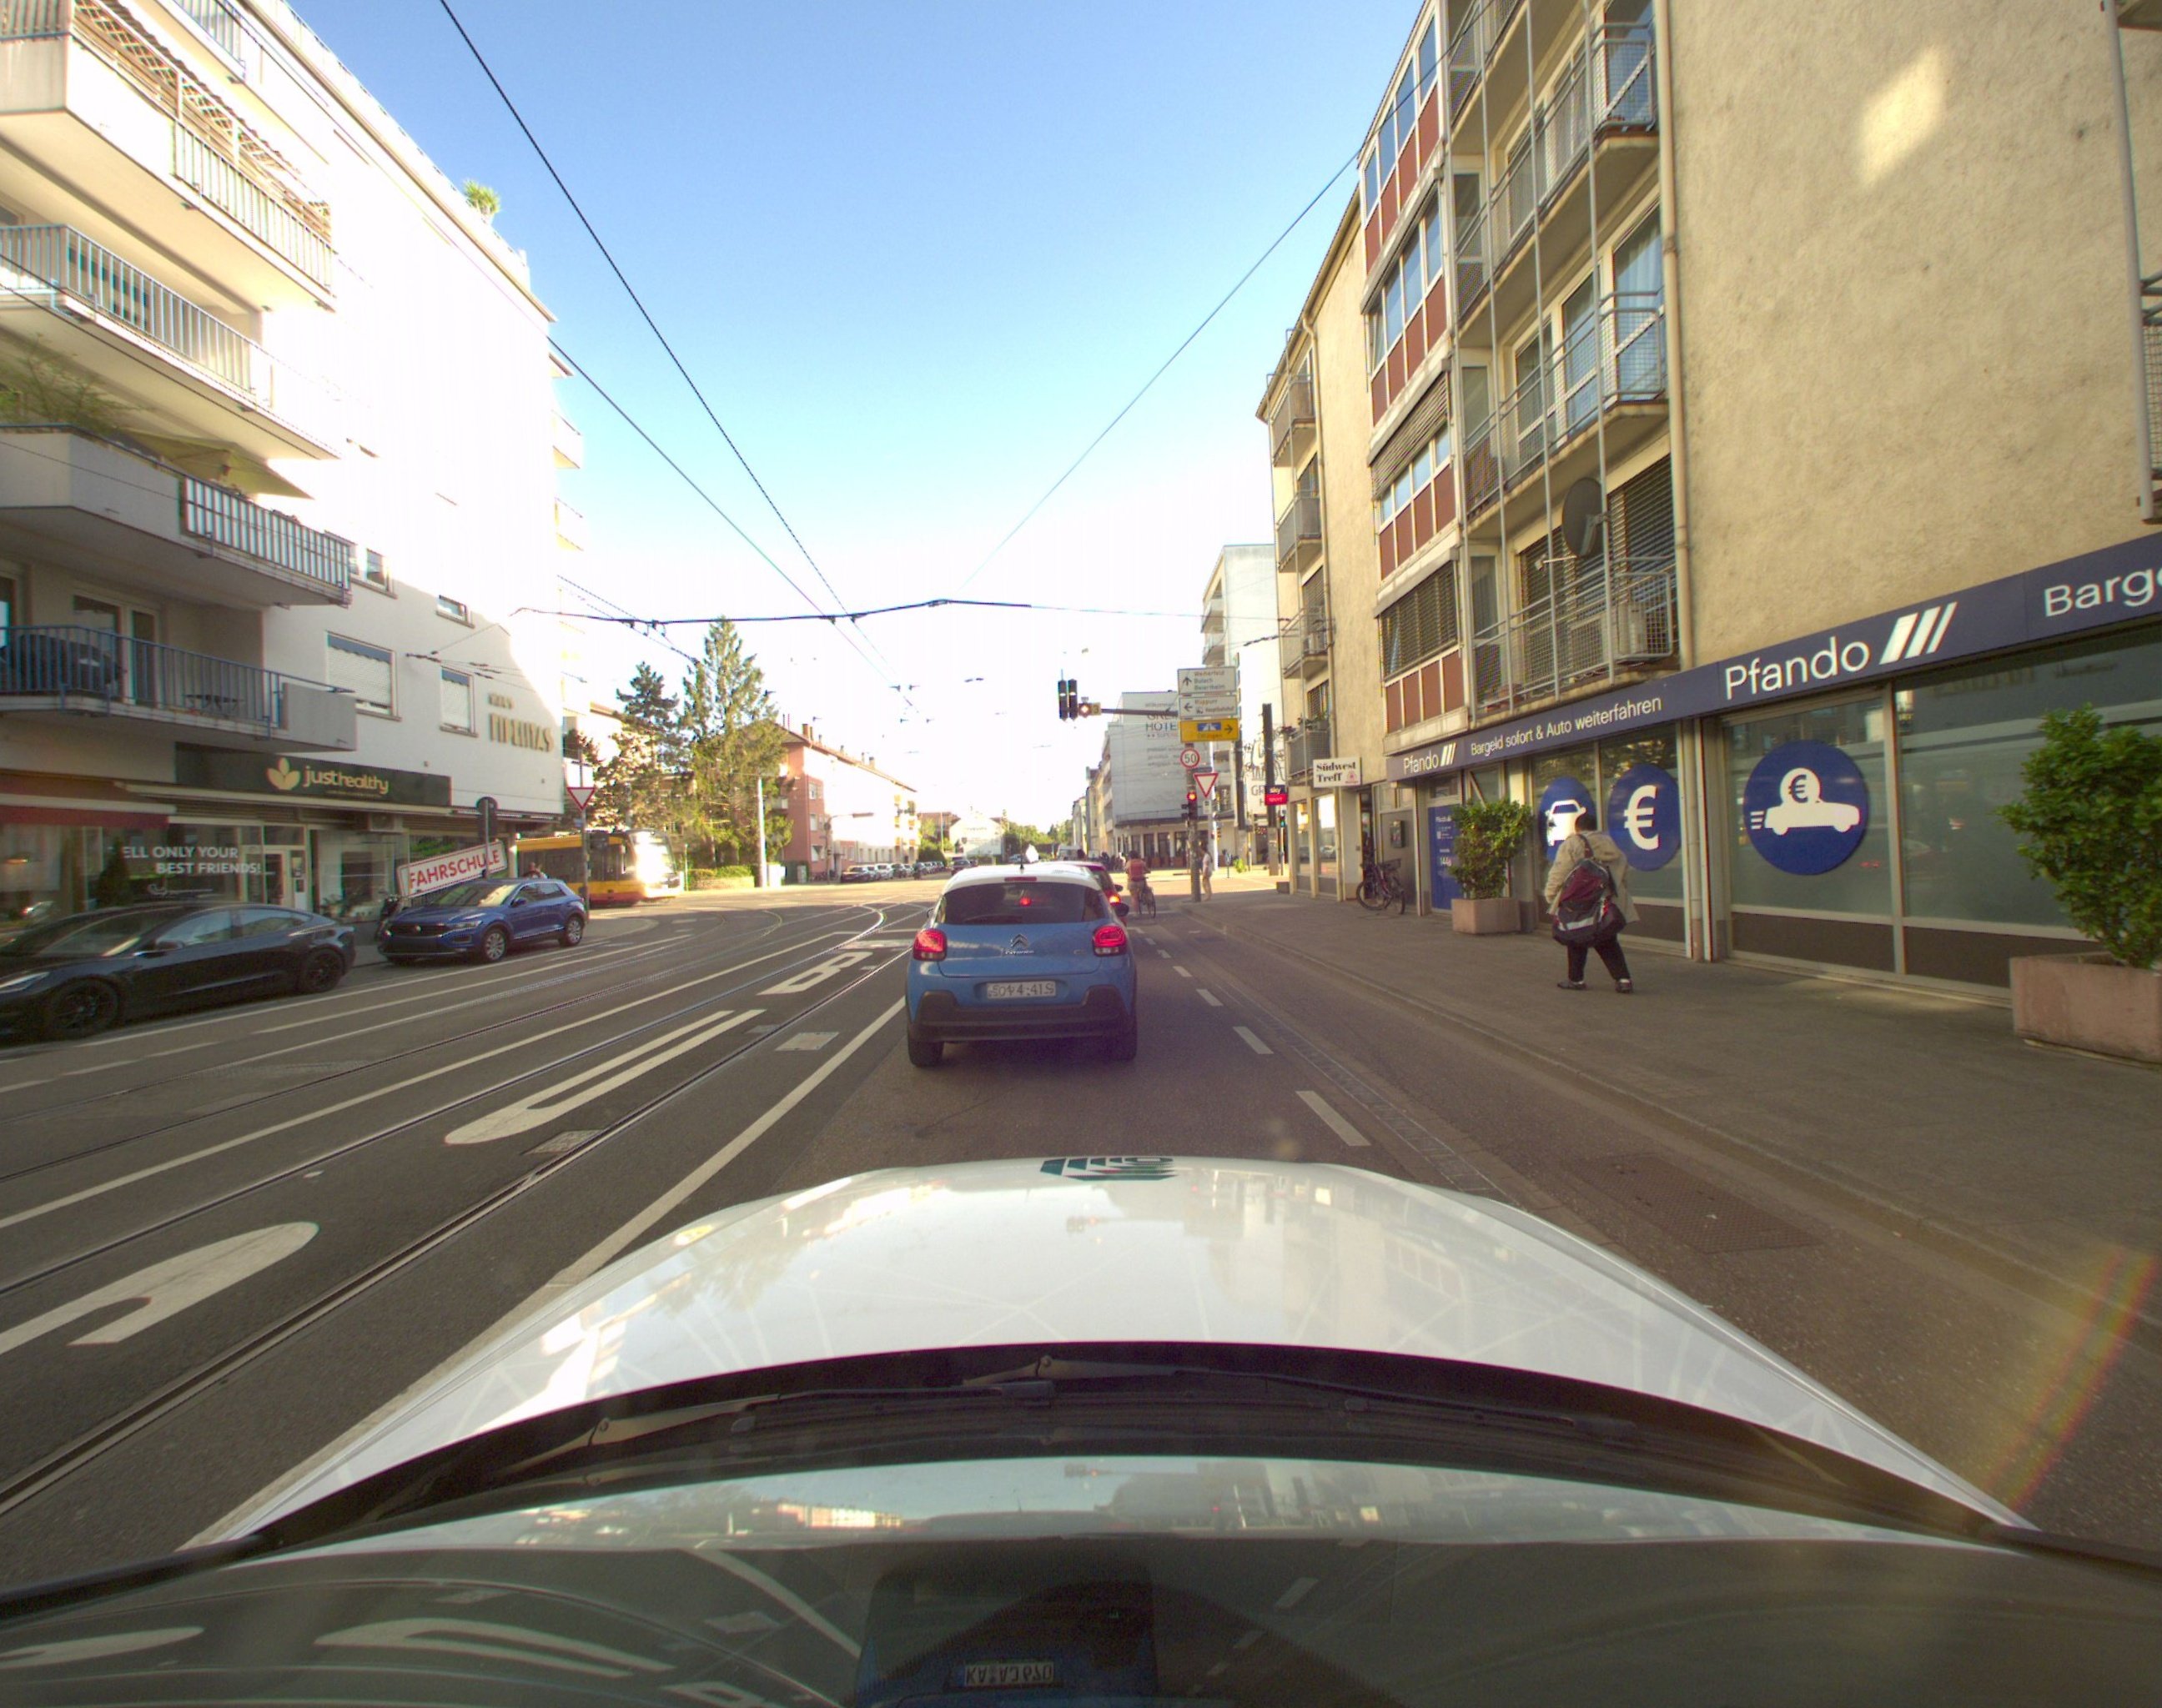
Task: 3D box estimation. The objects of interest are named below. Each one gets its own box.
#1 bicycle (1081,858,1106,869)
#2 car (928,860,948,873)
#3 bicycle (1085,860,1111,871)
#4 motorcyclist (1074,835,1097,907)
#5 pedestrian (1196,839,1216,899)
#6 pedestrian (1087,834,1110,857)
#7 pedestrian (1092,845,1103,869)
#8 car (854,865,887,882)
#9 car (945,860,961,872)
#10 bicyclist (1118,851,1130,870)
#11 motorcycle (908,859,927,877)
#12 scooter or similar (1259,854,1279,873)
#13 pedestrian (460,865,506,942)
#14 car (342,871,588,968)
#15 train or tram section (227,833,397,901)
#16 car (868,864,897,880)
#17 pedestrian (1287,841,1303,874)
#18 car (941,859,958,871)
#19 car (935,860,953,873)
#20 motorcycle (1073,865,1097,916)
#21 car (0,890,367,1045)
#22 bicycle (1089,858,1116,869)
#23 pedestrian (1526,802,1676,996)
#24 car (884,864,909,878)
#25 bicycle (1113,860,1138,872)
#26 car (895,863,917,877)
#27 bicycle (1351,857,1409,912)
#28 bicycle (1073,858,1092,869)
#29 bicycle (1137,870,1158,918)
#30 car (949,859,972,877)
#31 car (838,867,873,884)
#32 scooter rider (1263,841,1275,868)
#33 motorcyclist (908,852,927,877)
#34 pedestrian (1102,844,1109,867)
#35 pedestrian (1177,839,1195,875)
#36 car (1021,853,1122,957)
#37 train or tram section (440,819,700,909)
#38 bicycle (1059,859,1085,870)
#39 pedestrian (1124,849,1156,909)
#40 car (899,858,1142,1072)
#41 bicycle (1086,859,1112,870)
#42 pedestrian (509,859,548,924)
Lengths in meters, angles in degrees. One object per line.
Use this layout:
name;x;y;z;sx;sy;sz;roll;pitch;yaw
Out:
bicycle;1.056;0.818;68.433;2.130;0.901;0.366;0;-1;-7
car;-18.798;1.668;107.056;1.978;1.687;3.998;0;-1;-1
bicycle;1.411;0.935;67.761;2.130;0.901;0.366;0;-1;-7
motorcyclist;0.118;0.405;19.752;0.524;1.716;0.717;0;-1;2
pedestrian;3.731;0.443;24.331;0.515;1.783;0.595;0;-1;0
pedestrian;1.631;-0.730;73.693;1.986;2.014;4.001;0;-1;2
pedestrian;1.374;0.228;69.282;0.635;2.014;0.717;0;-1;-34
car;-19.421;1.787;75.262;1.808;1.498;4.302;0;0;2
car;-19.192;1.755;121.946;1.841;1.687;3.872;0;-1;-1
bicyclist;3.252;0.497;61.709;0.739;1.477;0.565;-1;-1;21
motorcycle;-13.539;1.145;67.567;0.921;1.486;3.724;0;-1;-1
scooter or similar;13.049;0.689;56.536;1.341;1.269;0.445;-3;-2;10
pedestrian;-14.393;1.168;19.615;0.569;1.805;0.699;0;-1;1
car;-11.992;1.190;16.277;1.864;1.531;4.068;-2;0;-2
train or tram section;-45.548;0.785;48.019;14.085;3.632;2.770;-1;-1;28
car;-19.415;1.737;79.918;1.781;1.511;4.150;0;0;1
pedestrian;10.530;0.153;40.114;0.730;1.601;0.751;-1;-1;15
car;-18.968;1.607;117.366;1.828;1.687;3.998;0;-1;-1
car;-18.786;1.672;111.923;1.877;1.687;3.998;0;-1;-1
motorcycle;0.111;0.838;19.560;0.524;1.139;2.290;0;-1;2
car;-12.011;1.292;10.449;1.816;1.387;4.425;-2;0;-2
bicycle;1.751;0.769;66.069;2.130;0.901;0.366;0;-1;-7
pedestrian;4.499;0.373;7.099;0.822;1.593;0.751;0;-1;1
car;-19.628;1.792;86.727;1.781;1.498;3.998;0;0;-1
bicycle;3.368;0.909;61.640;1.837;0.903;0.352;-1;-1;21
car;-19.856;1.842;92.681;1.728;1.498;3.996;0;-1;-2
bicycle;5.743;0.568;15.719;0.540;0.998;1.706;0;-1;2
bicycle;0.123;0.822;69.619;1.765;0.901;0.369;-1;-1;36
bicycle;1.676;0.978;20.628;0.426;1.123;1.999;0;-1;2
car;-11.352;1.337;76.859;1.770;1.666;3.854;0;-1;-2
car;-19.211;1.808;69.446;1.787;1.421;3.996;0;0;1
scooter rider;13.045;0.066;56.563;0.717;1.833;0.719;-3;-2;11
motorcyclist;-13.543;0.892;67.535;1.182;2.013;1.275;-2;0;-1
pedestrian;2.146;0.144;70.286;0.575;2.014;0.625;0;-1;-1
pedestrian;6.032;0.173;46.913;0.922;2.014;0.760;0;-1;1
car;-0.088;0.760;13.348;1.419;1.467;2.925;-2;-1;2
train or tram section;-23.848;0.543;37.842;12.483;3.594;3.088;-2;-1;20
bicycle;-0.722;0.876;66.500;2.130;0.901;0.366;0;-1;-7
pedestrian;1.462;0.618;20.345;0.774;1.460;0.682;0;-1;1
car;-0.355;0.768;7.301;1.648;1.444;3.524;0;-1;2
bicycle;1.482;0.866;67.259;2.130;0.901;0.366;0;-1;-7
pedestrian;-17.354;1.162;25.591;0.767;2.014;0.694;0;-1;-4
